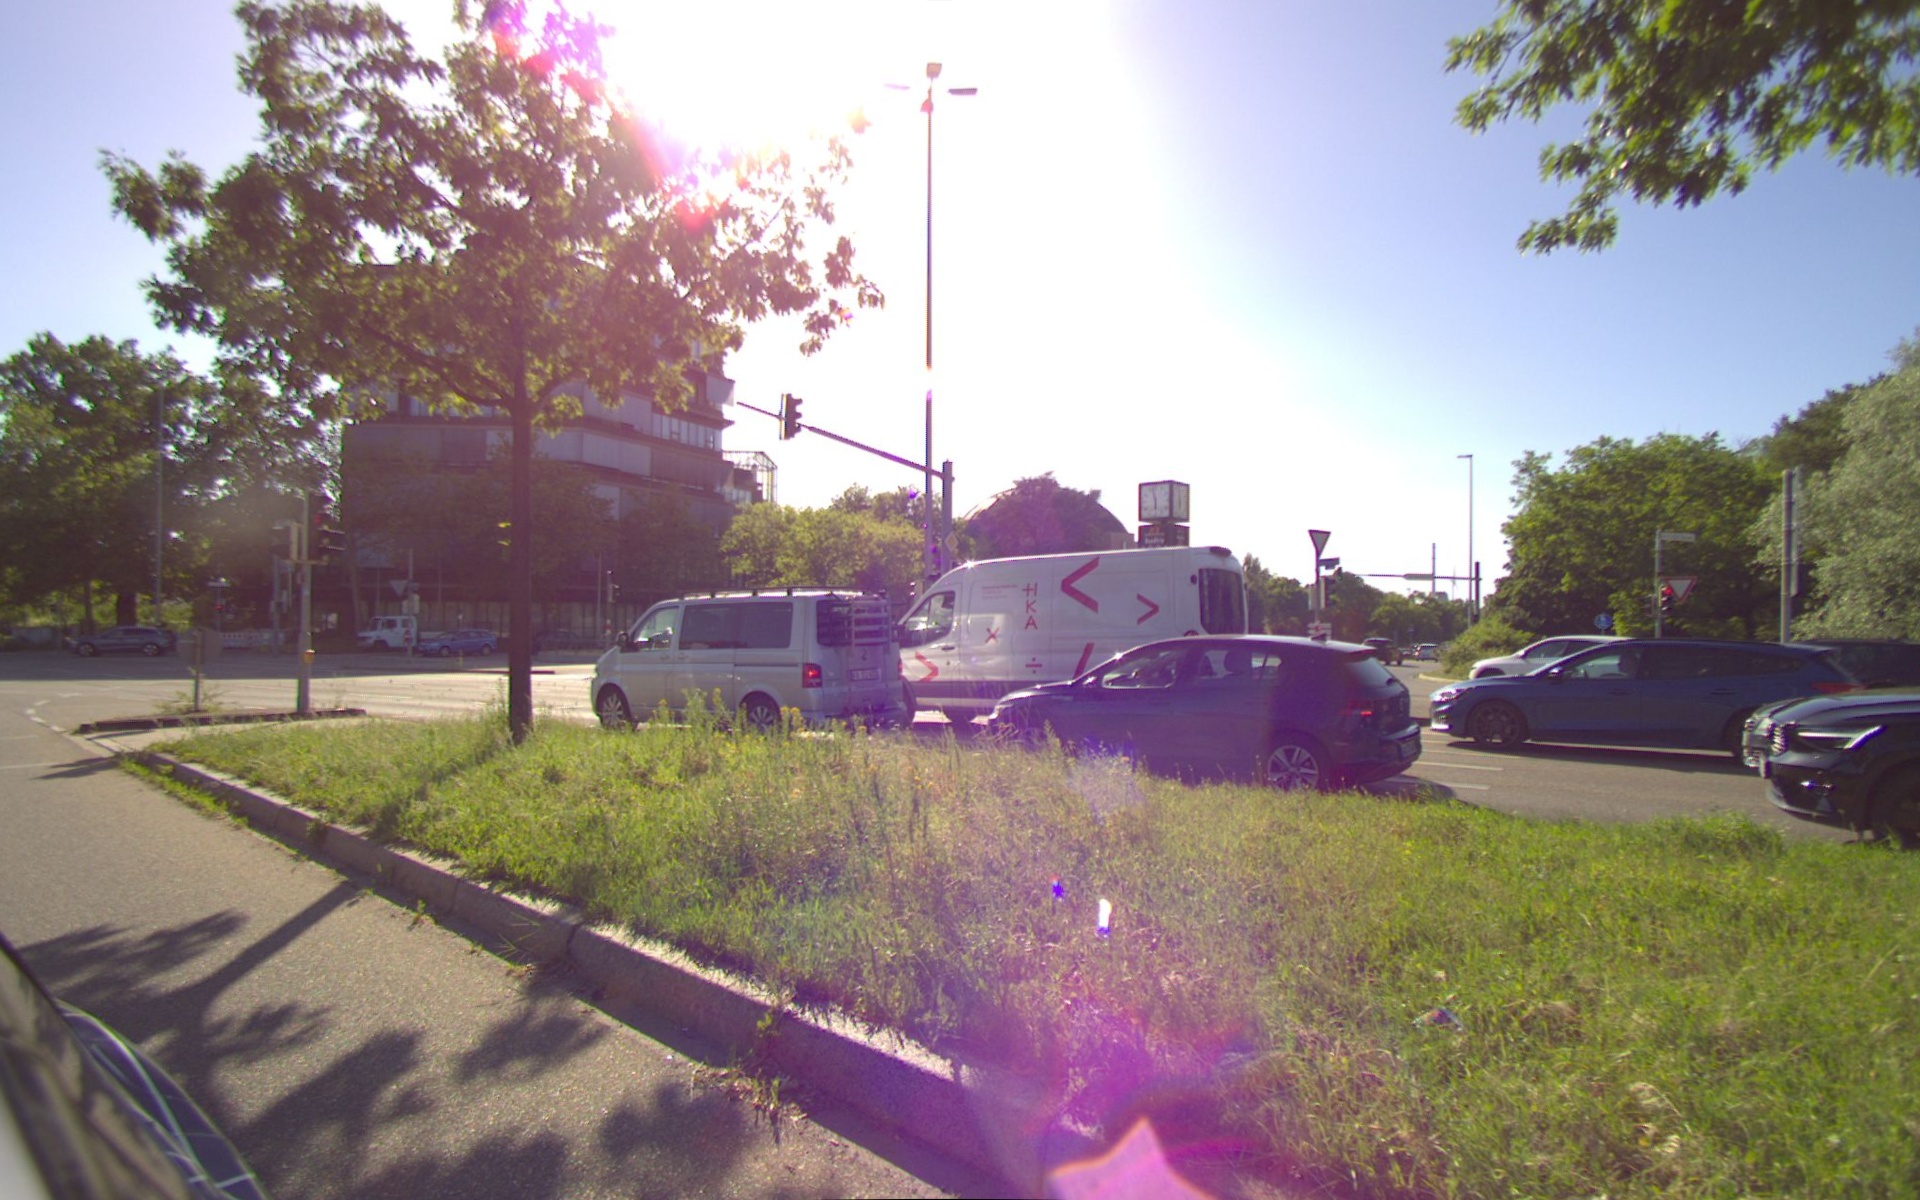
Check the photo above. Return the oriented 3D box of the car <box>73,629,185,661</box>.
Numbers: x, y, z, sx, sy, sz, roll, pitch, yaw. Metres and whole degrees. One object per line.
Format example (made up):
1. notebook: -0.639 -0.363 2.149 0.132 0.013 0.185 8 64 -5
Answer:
1. car: -44.964 2.394 54.912 4.432 1.657 1.886 1 -2 -31

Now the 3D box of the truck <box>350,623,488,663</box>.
1. truck: -34.106 2.650 64.089 2.164 2.378 7.407 -2 -2 43

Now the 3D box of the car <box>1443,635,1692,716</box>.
1. car: 13.150 1.566 22.207 1.754 1.547 4.341 0 -1 -31

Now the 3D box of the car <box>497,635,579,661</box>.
1. car: -26.124 2.942 62.772 1.944 1.552 4.411 -1 -2 31

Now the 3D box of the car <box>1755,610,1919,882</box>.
1. car: 7.598 0.869 5.949 4.497 1.635 1.919 -1 -2 37

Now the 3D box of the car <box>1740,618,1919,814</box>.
1. car: 9.463 0.964 8.518 4.497 1.635 1.919 -1 -2 37

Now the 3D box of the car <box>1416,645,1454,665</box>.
1. car: 38.676 4.456 82.350 1.996 1.519 3.950 -2 -2 36

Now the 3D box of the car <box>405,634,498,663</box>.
1. car: -28.952 2.758 57.804 1.944 1.552 4.411 -1 -2 31

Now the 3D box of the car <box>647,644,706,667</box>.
1. car: -21.969 4.273 78.434 1.813 1.713 4.140 -1 -2 40

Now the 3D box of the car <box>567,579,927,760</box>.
1. car: -2.972 0.846 13.566 4.920 2.023 1.920 -1 -2 36

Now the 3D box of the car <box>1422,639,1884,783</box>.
1. car: 8.478 1.255 12.788 4.497 1.476 1.919 -1 -2 37

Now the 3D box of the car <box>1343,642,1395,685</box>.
1. car: 26.270 4.040 64.917 2.173 2.386 4.823 1 1 34

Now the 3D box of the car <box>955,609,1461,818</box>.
1. car: 2.321 0.952 10.027 4.496 1.635 1.920 -1 -2 36

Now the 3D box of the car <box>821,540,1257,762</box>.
1. car: 0.908 0.672 14.382 6.075 2.596 1.920 -1 -2 36
